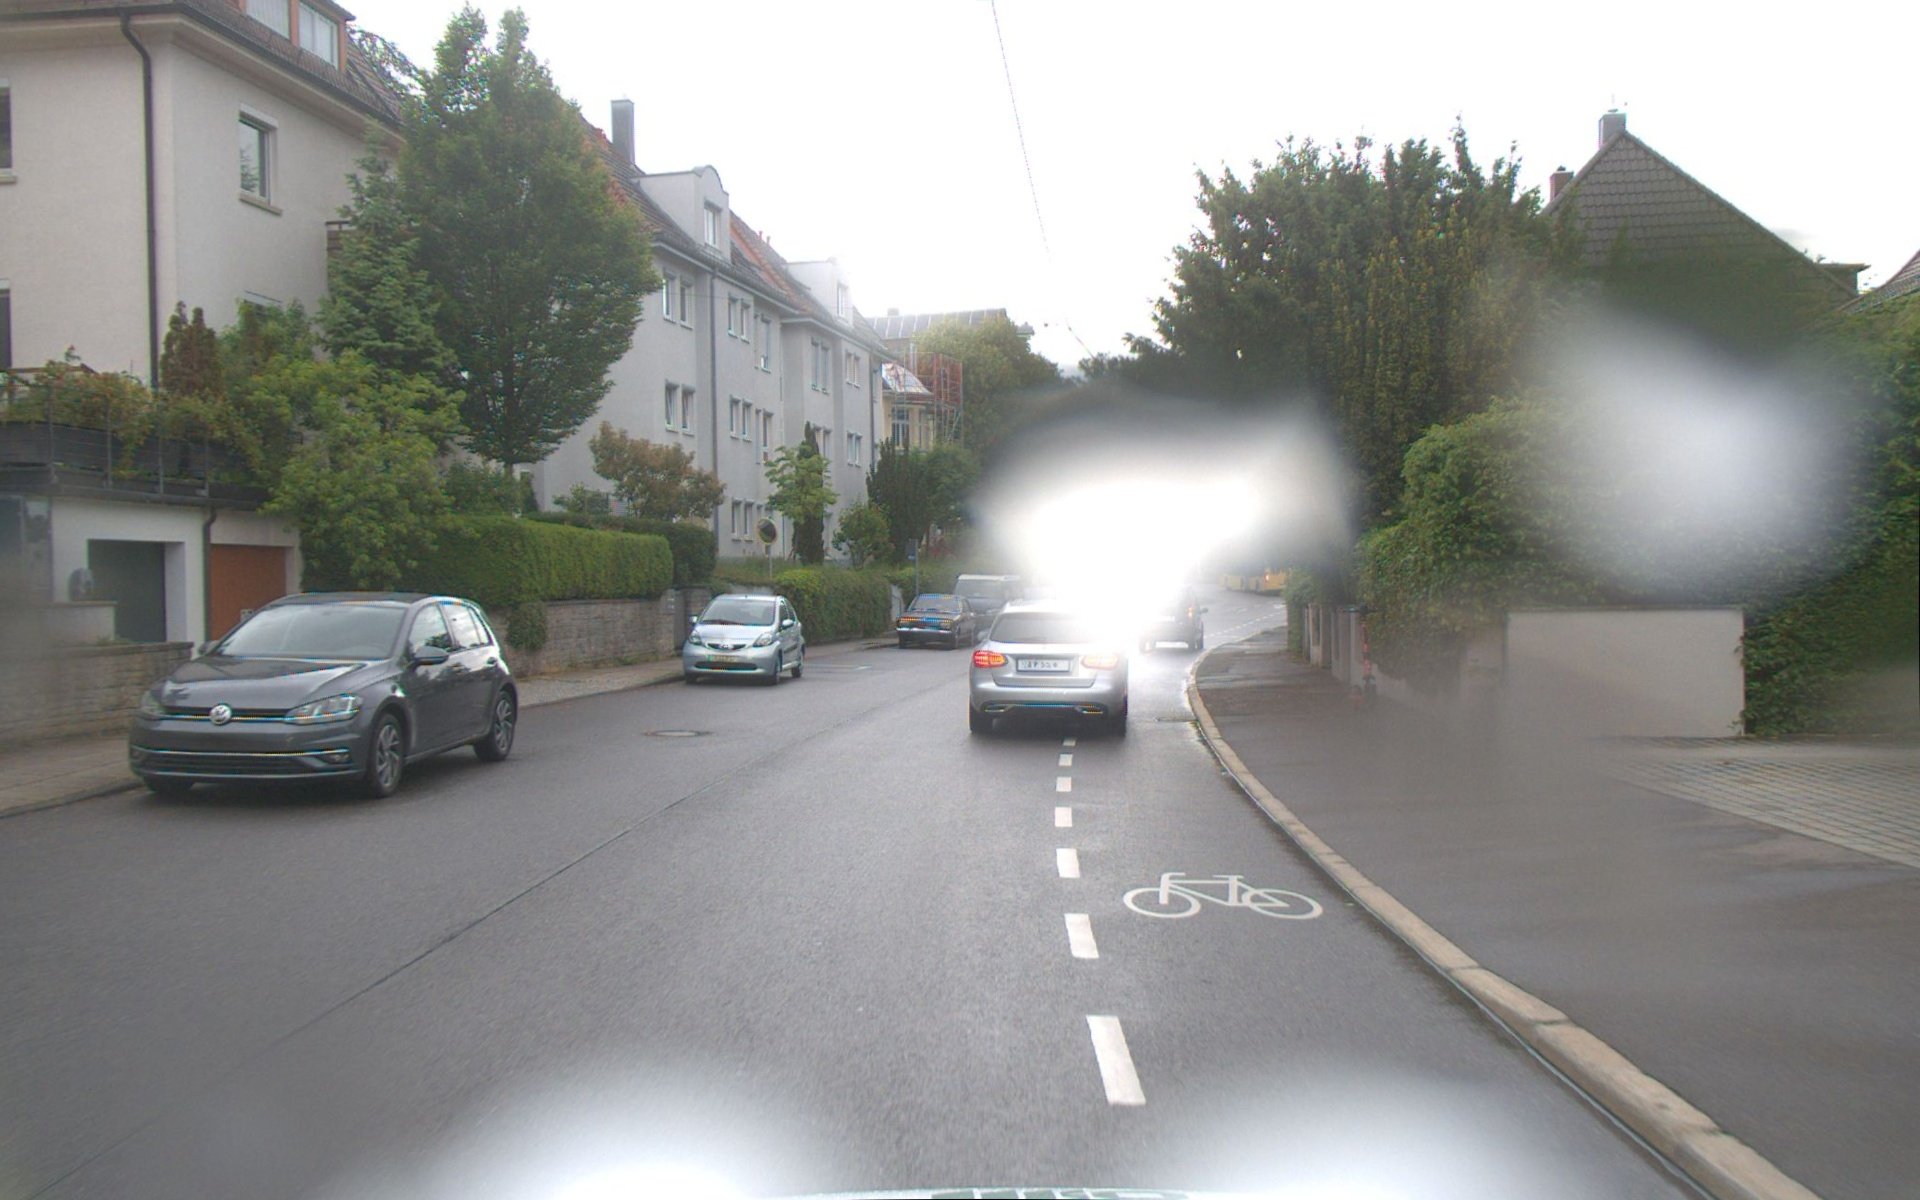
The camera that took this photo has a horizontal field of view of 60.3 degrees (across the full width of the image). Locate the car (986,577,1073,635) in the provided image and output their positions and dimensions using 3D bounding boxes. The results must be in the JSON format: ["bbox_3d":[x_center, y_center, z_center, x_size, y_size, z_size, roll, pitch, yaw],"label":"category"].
[{"bbox_3d":[2.467,0.162,57.284,1.951,1.717,4.681,1,3,16],"label":"car"}]

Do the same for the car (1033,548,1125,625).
[{"bbox_3d":[4.733,-0.604,64.851,2.340,2.820,6.537,1,2,15],"label":"car"}]

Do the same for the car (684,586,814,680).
[{"bbox_3d":[-3.574,0.527,28.534,1.571,1.512,3.489,1,0,4],"label":"car"}]

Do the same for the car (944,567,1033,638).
[{"bbox_3d":[0.957,0.066,51.506,1.790,2.092,5.014,1,0,12],"label":"car"}]

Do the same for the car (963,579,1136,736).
[{"bbox_3d":[1.106,0.567,19.252,1.778,1.583,4.003,1,1,5],"label":"car"}]

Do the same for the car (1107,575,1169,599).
[{"bbox_3d":[11.547,-0.827,107.276,3.902,1.444,1.889,1,3,7],"label":"car"}]

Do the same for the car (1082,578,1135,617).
[{"bbox_3d":[6.323,-0.133,70.304,1.676,1.472,3.258,1,3,16],"label":"car"}]

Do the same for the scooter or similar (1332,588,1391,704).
[{"bbox_3d":[4.807,0.533,19.845,0.440,1.330,1.482,-1,0,5],"label":"scooter or similar"}]

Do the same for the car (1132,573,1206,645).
[{"bbox_3d":[6.015,0.241,47.224,1.803,1.937,4.003,1,0,11],"label":"car"}]

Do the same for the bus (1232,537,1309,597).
[{"bbox_3d":[21.014,-2.336,112.636,2.870,3.714,10.165,0,3,-3],"label":"bus"}]

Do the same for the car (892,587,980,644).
[{"bbox_3d":[-0.597,0.395,45.953,1.608,1.442,4.617,1,1,10],"label":"car"}]

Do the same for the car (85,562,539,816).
[{"bbox_3d":[-4.849,0.564,13.093,1.755,1.608,4.140,3,1,2],"label":"car"}]
